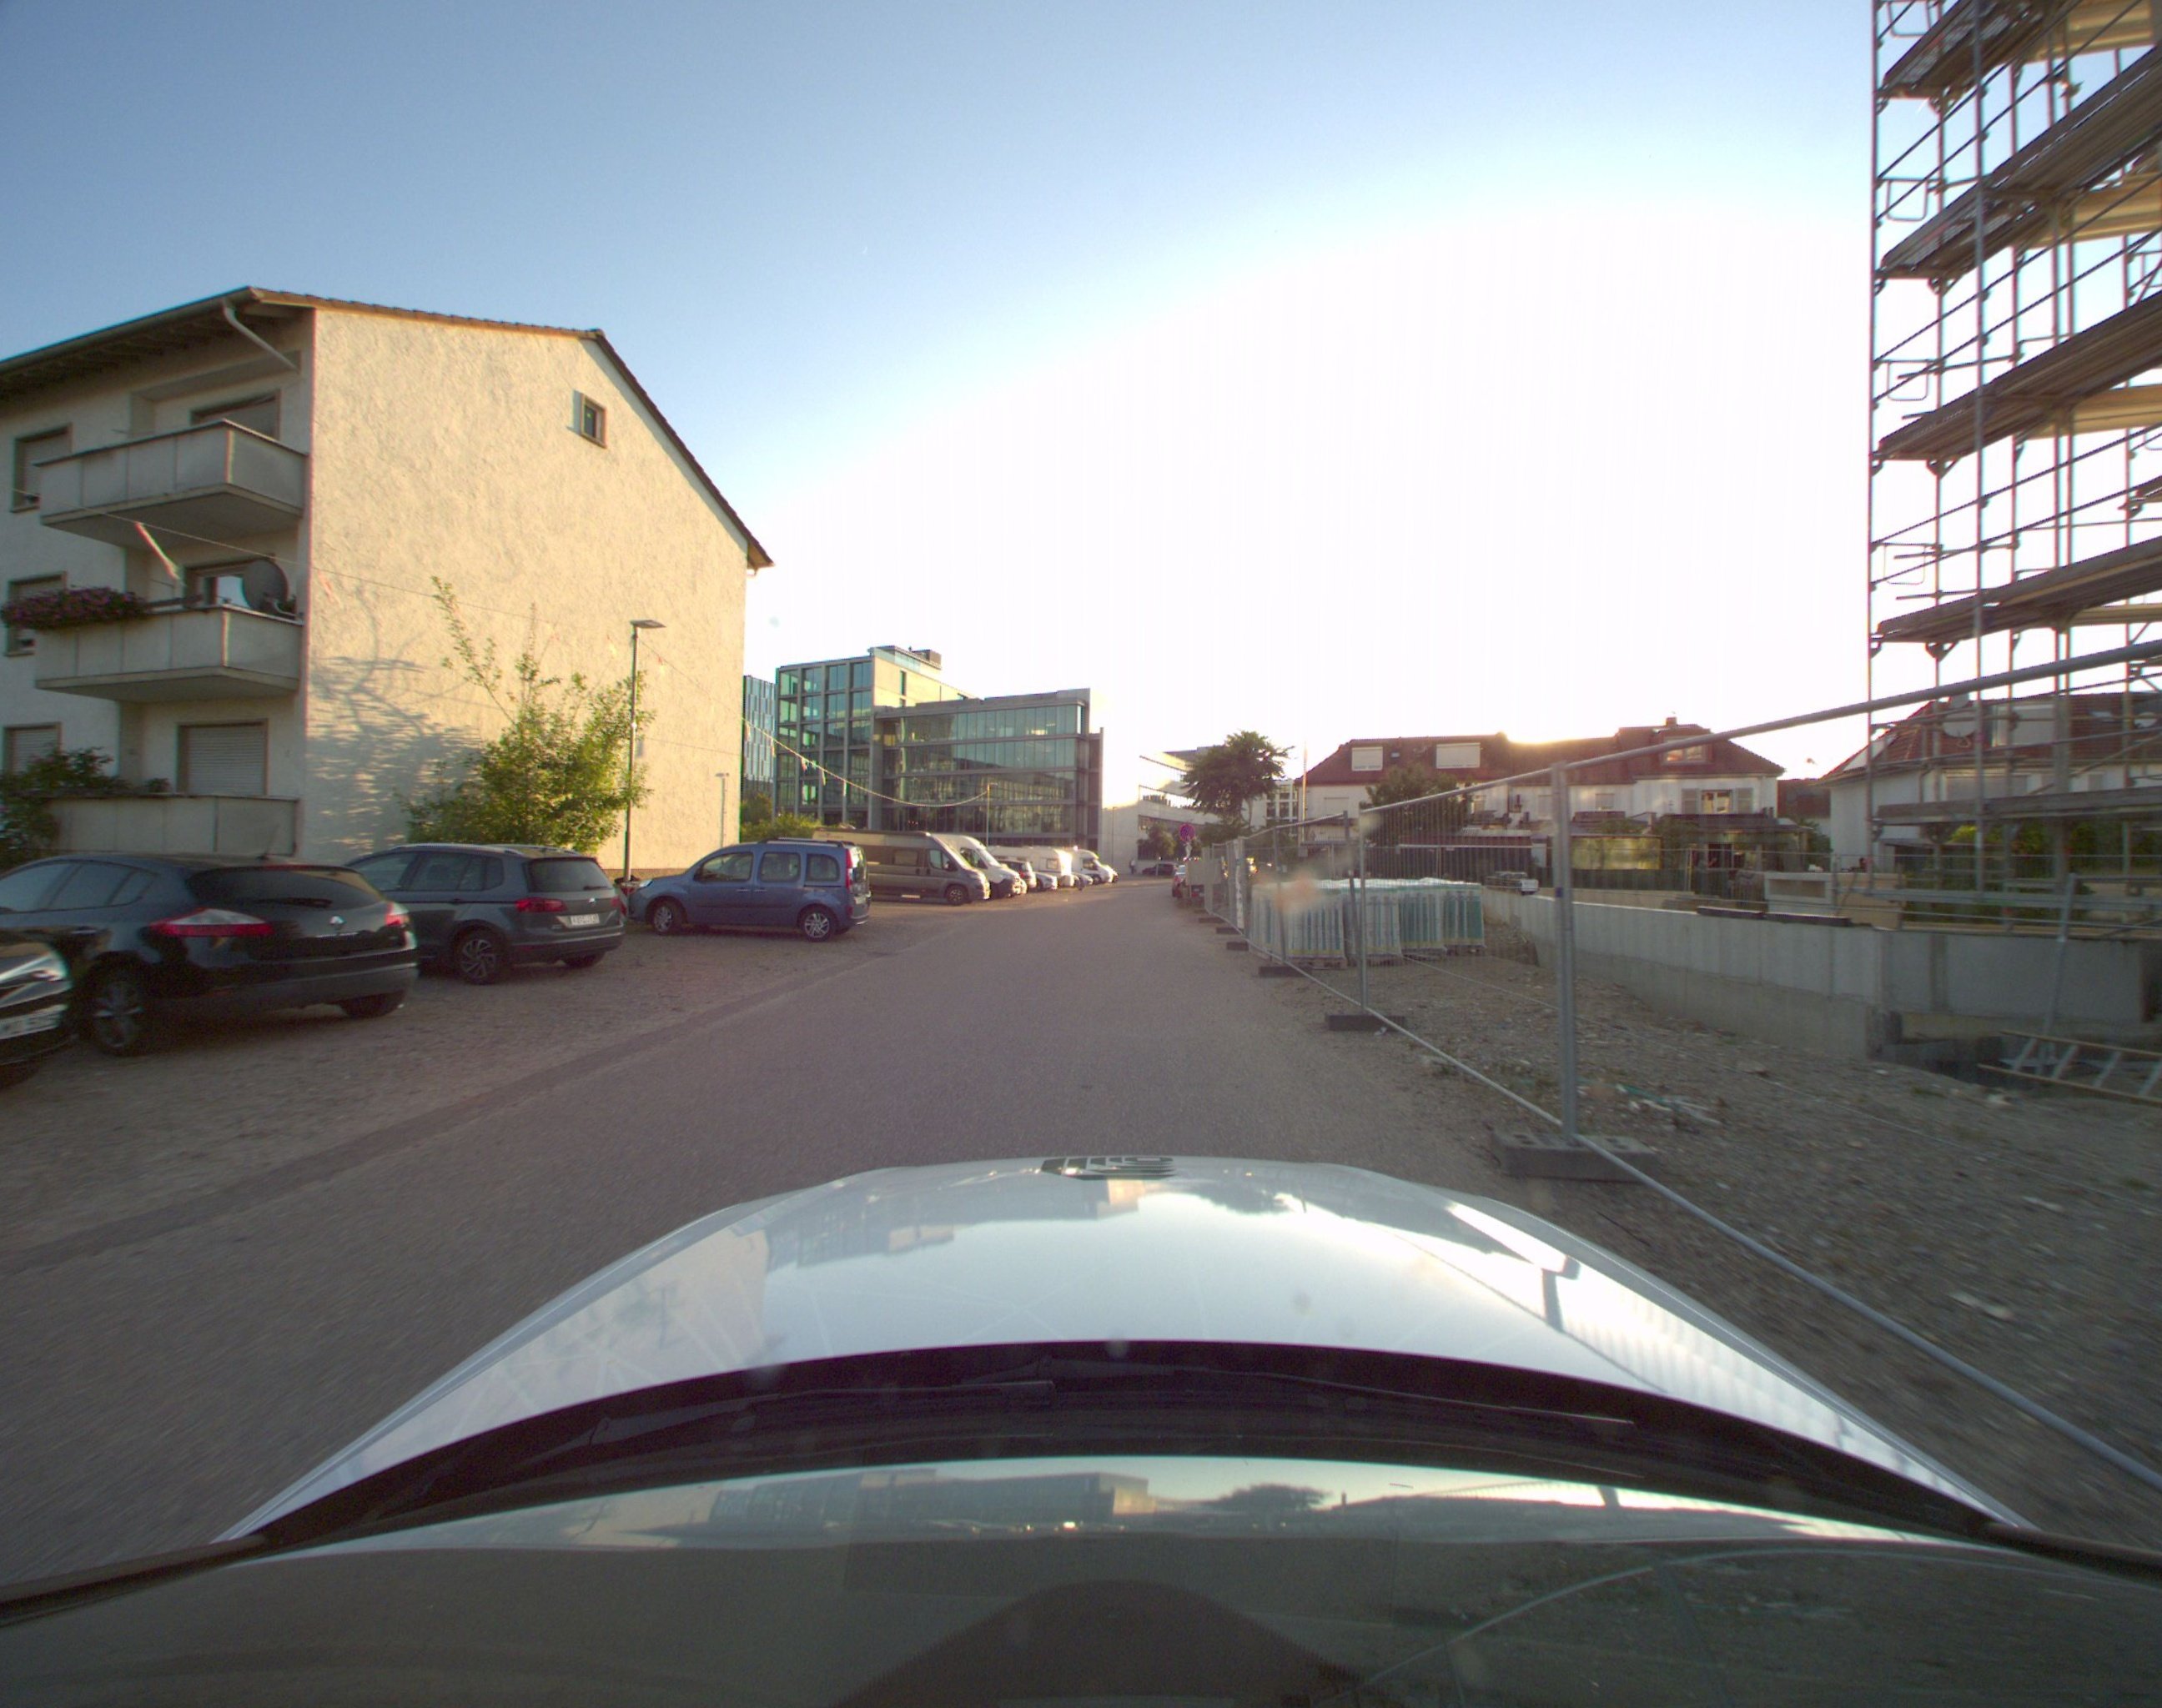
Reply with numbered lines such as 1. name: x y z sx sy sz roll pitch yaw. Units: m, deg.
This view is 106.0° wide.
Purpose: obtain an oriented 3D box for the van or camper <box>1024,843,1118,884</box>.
1. van or camper: -0.736 0.693 62.556 6.693 2.898 2.417 1 -1 13

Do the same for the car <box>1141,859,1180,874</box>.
1. car: 8.345 1.313 85.335 3.704 1.482 1.778 2 1 19

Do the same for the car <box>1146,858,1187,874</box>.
1. car: 9.254 1.266 87.987 4.053 1.528 1.855 2 0 18

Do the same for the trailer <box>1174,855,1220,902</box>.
1. trailer: 4.876 0.973 33.733 1.720 1.777 4.950 -1 -1 10

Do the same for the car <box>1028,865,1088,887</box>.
1. car: -1.535 1.463 54.975 3.703 1.367 1.710 2 0 9

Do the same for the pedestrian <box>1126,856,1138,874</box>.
1. pedestrian: 5.383 1.182 86.169 0.906 1.850 0.847 0 0 -34

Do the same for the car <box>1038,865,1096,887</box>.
1. car: -0.978 1.528 57.192 3.783 1.328 1.698 2 0 11

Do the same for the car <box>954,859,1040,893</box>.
1. car: -4.205 1.081 40.876 3.895 1.591 1.755 1 0 16

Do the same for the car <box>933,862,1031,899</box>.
1. car: -4.337 1.136 35.877 3.903 1.507 1.794 1 -1 8

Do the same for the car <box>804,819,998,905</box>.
1. car: -6.402 0.301 29.543 6.365 2.713 2.113 3 -2 1

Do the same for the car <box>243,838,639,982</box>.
1. car: -7.907 0.622 10.230 3.903 1.580 1.647 1 0 8

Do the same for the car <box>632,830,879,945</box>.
1. car: -6.036 0.603 15.507 3.919 1.911 1.745 3 0 -5

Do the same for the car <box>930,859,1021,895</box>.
1. car: -5.019 1.101 38.926 3.903 1.591 1.752 1 -2 8

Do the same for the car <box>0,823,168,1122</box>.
1. car: -7.917 0.625 4.422 4.069 1.628 1.823 0 -1 5

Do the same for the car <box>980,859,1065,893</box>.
1. car: -3.107 1.142 43.694 4.095 1.590 1.755 3 0 16

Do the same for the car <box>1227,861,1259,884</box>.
1. car: 15.092 1.688 75.659 2.048 2.095 4.897 0 0 21

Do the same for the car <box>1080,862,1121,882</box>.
1. car: 1.625 1.479 65.733 1.671 1.519 4.385 2 -1 24

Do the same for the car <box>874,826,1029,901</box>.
1. car: -5.268 0.366 33.565 5.796 2.713 2.054 3 0 6

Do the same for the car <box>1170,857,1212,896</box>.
1. car: 5.378 1.059 39.362 1.795 1.725 4.942 -2 -1 10

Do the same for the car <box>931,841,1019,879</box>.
1. car: -8.044 0.430 61.822 6.192 2.673 2.233 2 0 18

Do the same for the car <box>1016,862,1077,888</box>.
1. car: -2.183 1.351 52.186 3.606 1.519 1.710 2 0 9

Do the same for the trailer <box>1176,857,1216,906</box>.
1. trailer: 4.187 0.974 29.840 1.245 1.665 2.806 -1 -1 4

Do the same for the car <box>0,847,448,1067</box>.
1. car: -7.823 0.731 6.929 3.899 1.517 1.648 1 -1 12

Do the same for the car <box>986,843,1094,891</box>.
1. car: -2.433 0.766 48.617 5.846 2.534 2.420 2 -2 14
